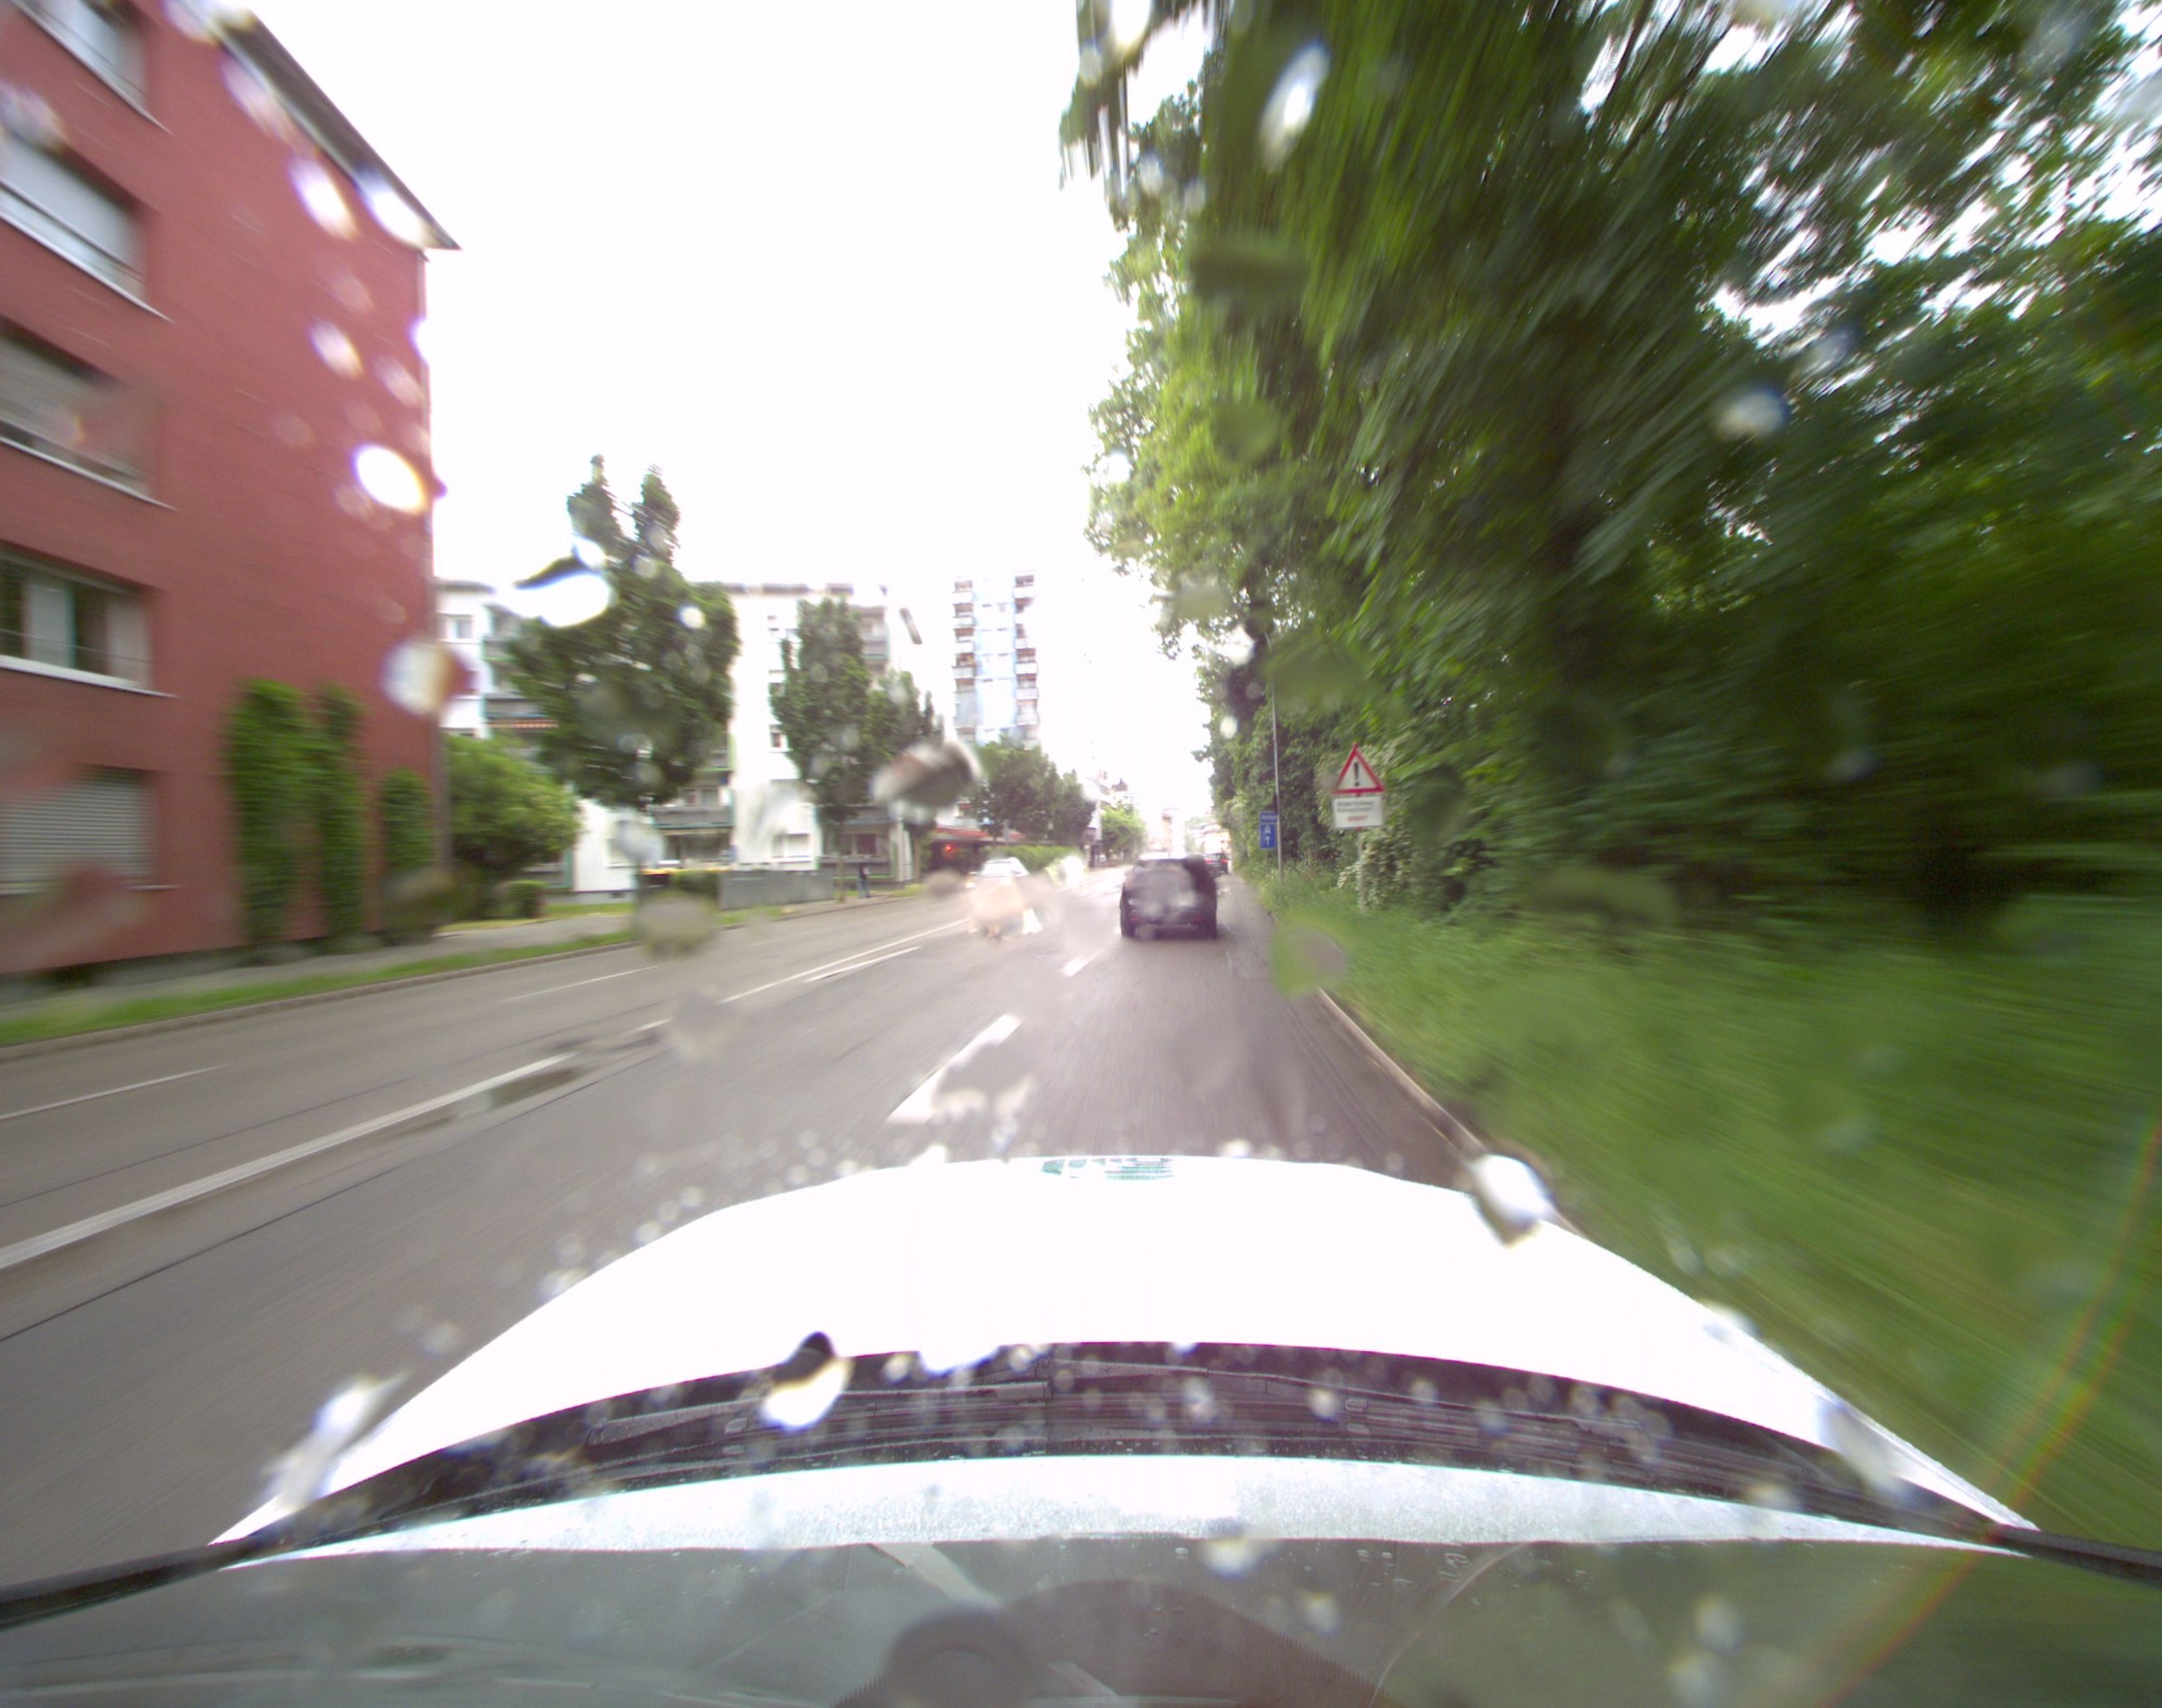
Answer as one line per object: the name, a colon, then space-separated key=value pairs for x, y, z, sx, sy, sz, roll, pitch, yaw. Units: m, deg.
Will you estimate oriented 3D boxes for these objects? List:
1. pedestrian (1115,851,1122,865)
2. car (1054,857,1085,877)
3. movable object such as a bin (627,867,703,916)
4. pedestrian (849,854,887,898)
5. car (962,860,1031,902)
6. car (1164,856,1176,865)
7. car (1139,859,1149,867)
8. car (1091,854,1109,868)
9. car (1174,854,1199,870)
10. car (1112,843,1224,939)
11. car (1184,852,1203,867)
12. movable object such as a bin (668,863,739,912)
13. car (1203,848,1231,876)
pedestrian: x=5.410 y=0.616 z=117.168 sx=0.937 sy=2.013 sz=0.887 roll=-2 pitch=0 yaw=1
car: x=-0.923 y=1.008 z=65.975 sx=1.864 sy=1.390 sz=4.635 roll=-3 pitch=0 yaw=6
movable object such as a bin: x=-12.555 y=1.107 z=24.672 sx=1.152 sy=1.331 sz=1.968 roll=-2 pitch=0 yaw=4
pedestrian: x=-8.997 y=0.926 z=34.465 sx=1.128 sy=1.804 sz=1.265 roll=-2 pitch=0 yaw=6
car: x=-3.186 y=0.986 z=31.479 sx=1.833 sy=1.385 sz=4.365 roll=-3 pitch=0 yaw=4
car: x=16.929 y=1.238 z=155.416 sx=1.985 sy=1.453 sz=4.003 roll=-2 pitch=0 yaw=3
car: x=12.402 y=1.816 z=159.804 sx=1.663 sy=1.478 sz=3.616 roll=-3 pitch=-1 yaw=8
car: x=2.406 y=0.907 z=102.512 sx=1.530 sy=1.706 sz=4.299 roll=-1 pitch=0 yaw=10
car: x=9.928 y=0.724 z=76.695 sx=2.053 sy=1.464 sz=4.600 roll=-2 pitch=0 yaw=10
car: x=1.808 y=0.647 z=16.557 sx=1.949 sy=1.652 sz=4.009 roll=-2 pitch=0 yaw=7
car: x=11.798 y=0.558 z=85.232 sx=1.733 sy=1.487 sz=4.173 roll=-2 pitch=0 yaw=10
movable object such as a bin: x=-12.395 y=1.077 z=26.847 sx=1.210 sy=1.484 sz=2.089 roll=-2 pitch=0 yaw=4
car: x=10.670 y=0.593 z=63.769 sx=1.980 sy=2.013 sz=4.013 roll=-2 pitch=0 yaw=11
